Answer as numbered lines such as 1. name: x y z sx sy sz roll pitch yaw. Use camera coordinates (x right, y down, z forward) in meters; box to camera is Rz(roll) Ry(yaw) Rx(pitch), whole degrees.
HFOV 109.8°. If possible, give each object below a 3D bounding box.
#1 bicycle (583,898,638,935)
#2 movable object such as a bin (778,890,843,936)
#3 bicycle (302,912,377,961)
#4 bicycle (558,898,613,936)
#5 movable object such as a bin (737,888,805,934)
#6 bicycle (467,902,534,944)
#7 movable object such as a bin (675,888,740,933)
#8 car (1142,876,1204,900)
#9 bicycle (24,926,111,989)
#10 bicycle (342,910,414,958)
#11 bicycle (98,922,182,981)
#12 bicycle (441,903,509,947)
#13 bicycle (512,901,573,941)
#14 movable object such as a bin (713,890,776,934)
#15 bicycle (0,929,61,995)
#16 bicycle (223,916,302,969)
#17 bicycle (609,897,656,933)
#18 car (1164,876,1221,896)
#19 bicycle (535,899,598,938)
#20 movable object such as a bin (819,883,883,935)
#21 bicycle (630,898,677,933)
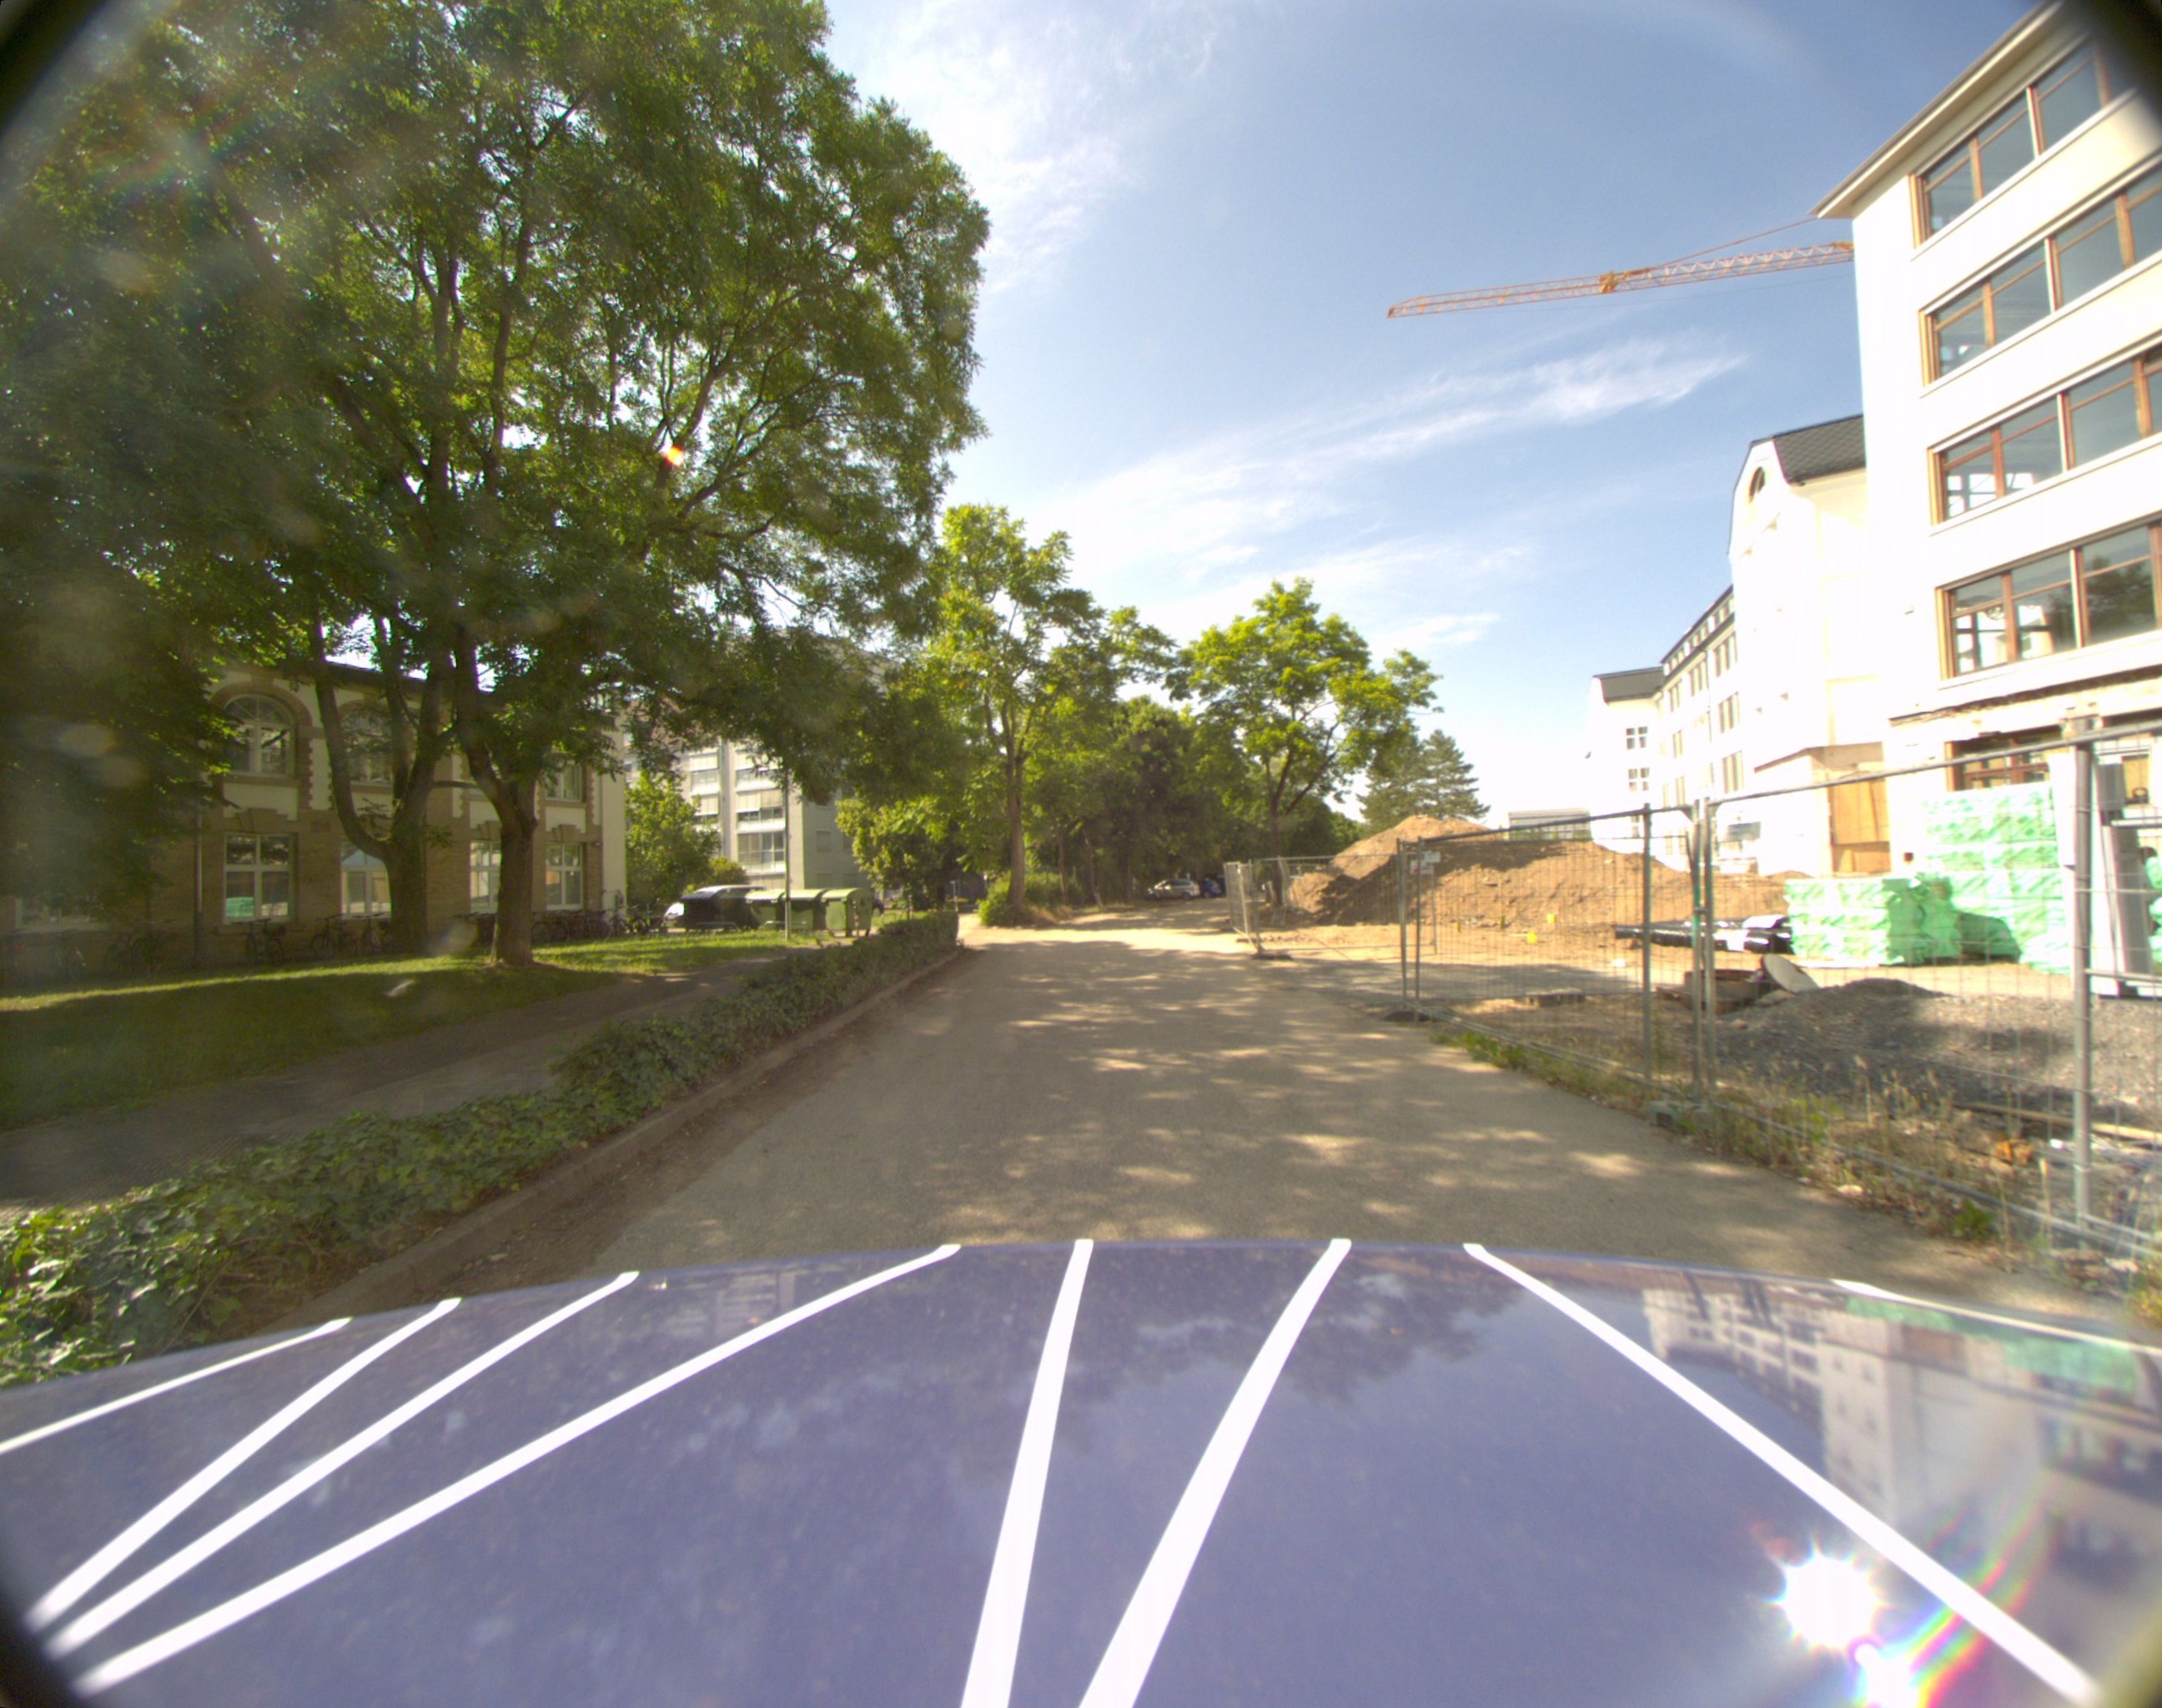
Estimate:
1. bicycle: -15.587 2.081 25.165 1.847 1.154 0.614 -3 -1 24
2. movable object such as a bin: -8.242 1.793 23.202 1.352 1.292 1.217 -2 -1 21
3. bicycle: -18.480 2.050 18.933 2.097 1.154 0.589 -3 -1 24
4. bicycle: -15.899 2.031 24.358 1.909 1.154 0.495 -3 -1 24
5. movable object such as a bin: -9.648 1.776 23.710 1.499 1.353 1.217 -2 -1 21
6. bicycle: -16.953 2.014 22.178 2.097 1.154 0.589 -3 -1 24
7. movable object such as a bin: -12.365 1.864 25.160 1.433 1.401 1.252 -2 -1 20
8. car: 6.517 2.394 53.807 3.991 1.499 2.003 -2 -2 19
9. bicycle: -20.358 2.049 15.249 2.097 1.154 0.589 -3 -1 24
10. bicycle: -18.191 2.068 19.654 2.097 1.154 0.589 -3 -1 24
11. bicycle: -19.914 2.048 16.073 2.097 1.154 0.589 -3 -1 24
12. bicycle: -17.180 2.010 21.544 2.097 1.154 0.589 -3 -1 24
13. bicycle: -16.401 2.028 23.131 1.917 1.154 0.589 -3 -1 24
14. movable object such as a bin: -10.892 1.867 24.613 1.349 1.341 1.217 -2 -1 21
15. bicycle: -20.502 2.051 14.630 2.097 1.154 0.589 -3 -1 24
16. bicycle: -19.080 2.054 17.705 2.097 1.154 0.589 -3 -1 24
17. bicycle: -15.179 2.067 25.692 1.800 1.154 0.508 -3 -1 29
18. car: 8.632 2.480 58.770 3.991 1.433 2.003 -2 -2 19
19. bicycle: -16.156 2.016 23.843 2.097 1.154 0.589 -3 -1 24
20. movable object such as a bin: -6.852 1.629 22.646 1.389 1.454 1.218 -3 -1 36
21. bicycle: -14.707 2.098 26.130 1.940 1.154 0.558 -3 -1 34
